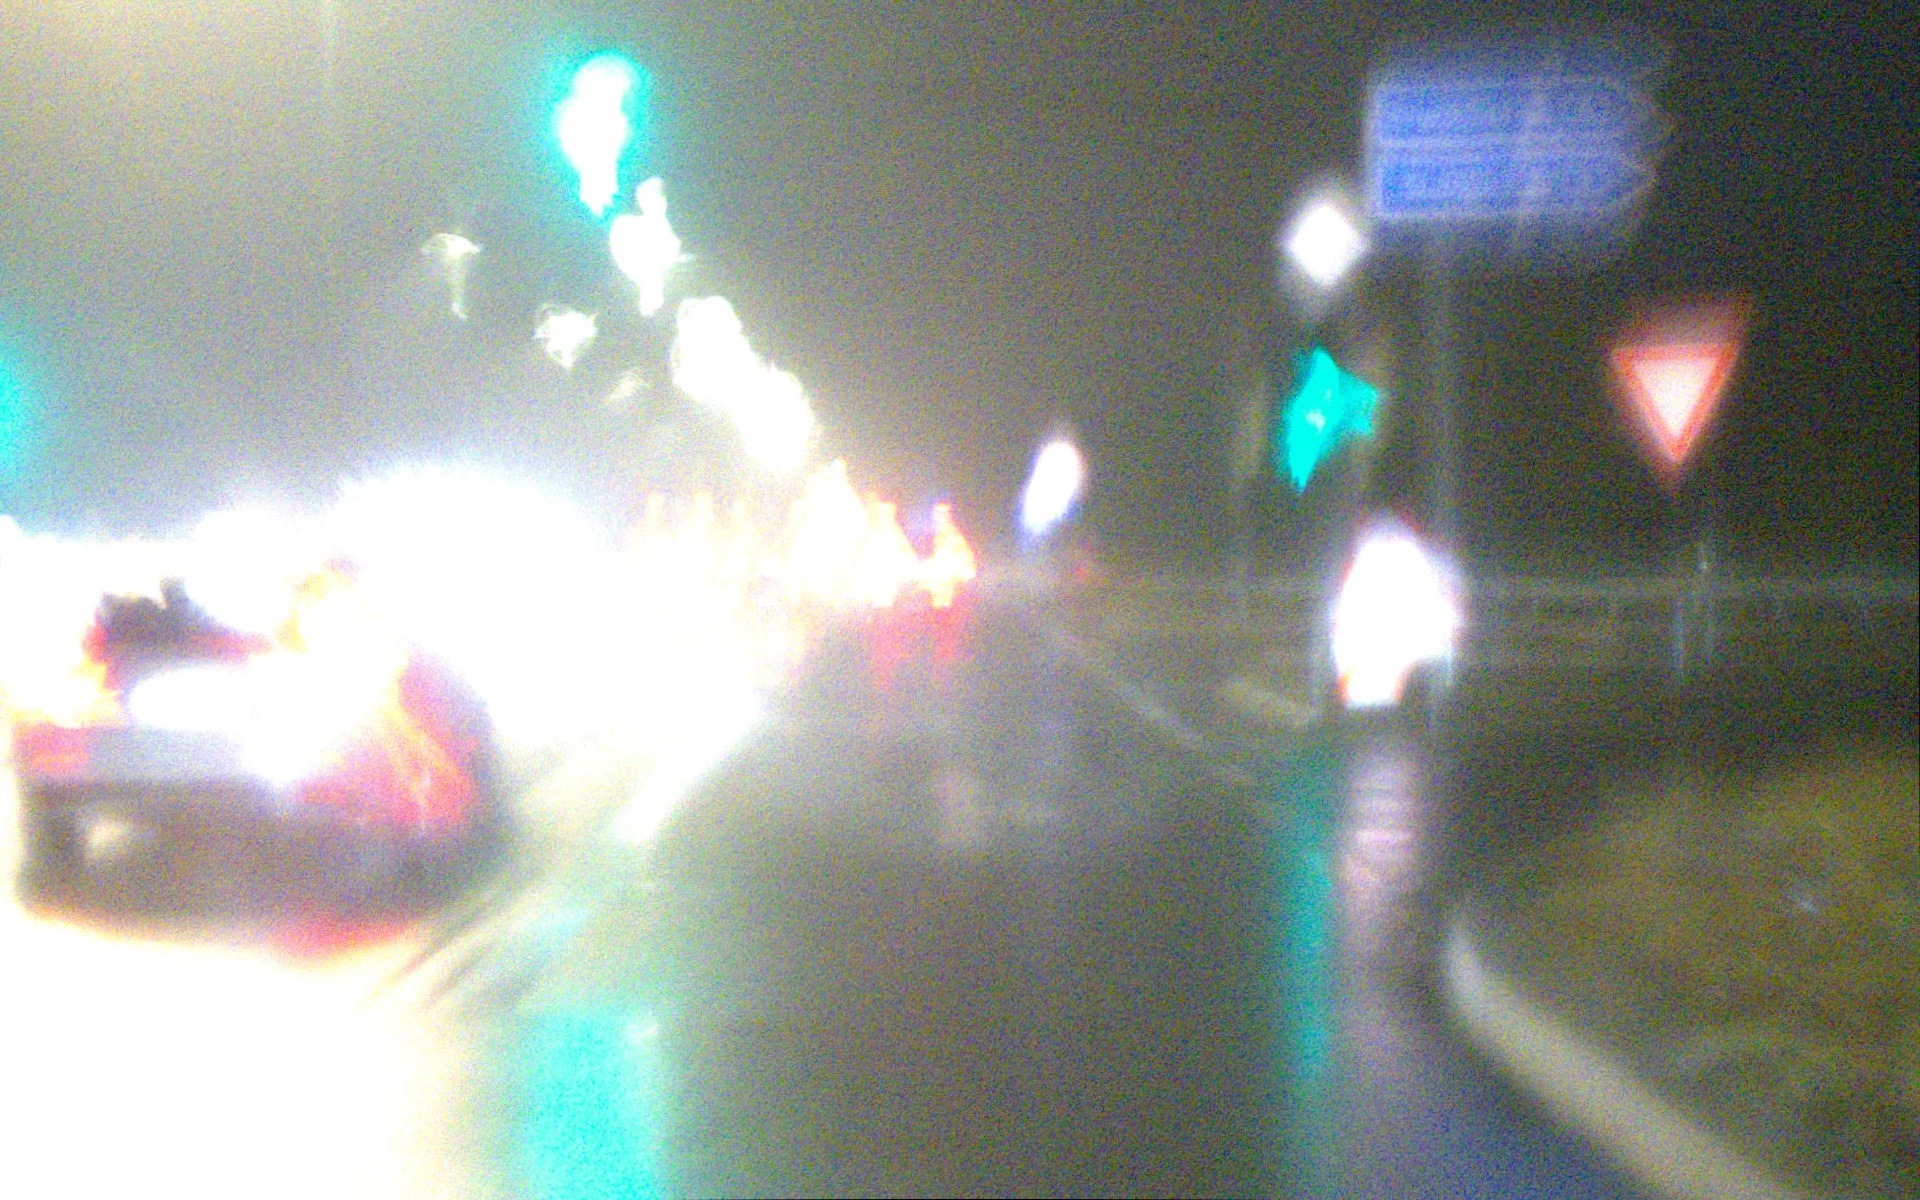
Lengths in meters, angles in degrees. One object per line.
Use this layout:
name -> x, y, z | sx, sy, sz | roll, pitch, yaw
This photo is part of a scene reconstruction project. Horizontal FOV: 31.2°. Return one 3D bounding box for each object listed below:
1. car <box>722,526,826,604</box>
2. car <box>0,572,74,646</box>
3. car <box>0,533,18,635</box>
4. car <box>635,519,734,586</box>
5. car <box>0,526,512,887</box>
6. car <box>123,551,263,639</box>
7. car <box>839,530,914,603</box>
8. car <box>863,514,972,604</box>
car -> -4.419, -0.818, 82.264 | 2.177, 1.596, 4.000 | 4, -1, 0
car -> -20.392, 0.185, 73.676 | 1.848, 1.451, 4.096 | 2, -2, -2
car -> -15.981, -0.215, 52.694 | 1.782, 1.603, 4.243 | -1, 1, 1
car -> -7.787, -1.337, 97.503 | 2.178, 1.596, 3.999 | 4, -1, 3
car -> -3.343, 0.411, 16.804 | 1.796, 1.447, 4.269 | 1, 2, -1
car -> -13.009, -0.109, 58.460 | 1.589, 1.422, 3.350 | 0, 1, 0
car -> -2.451, -0.972, 101.387 | 1.993, 1.832, 4.000 | 5, -2, 0
car -> -0.859, -0.829, 71.352 | 1.910, 1.596, 3.999 | 4, -1, 3
